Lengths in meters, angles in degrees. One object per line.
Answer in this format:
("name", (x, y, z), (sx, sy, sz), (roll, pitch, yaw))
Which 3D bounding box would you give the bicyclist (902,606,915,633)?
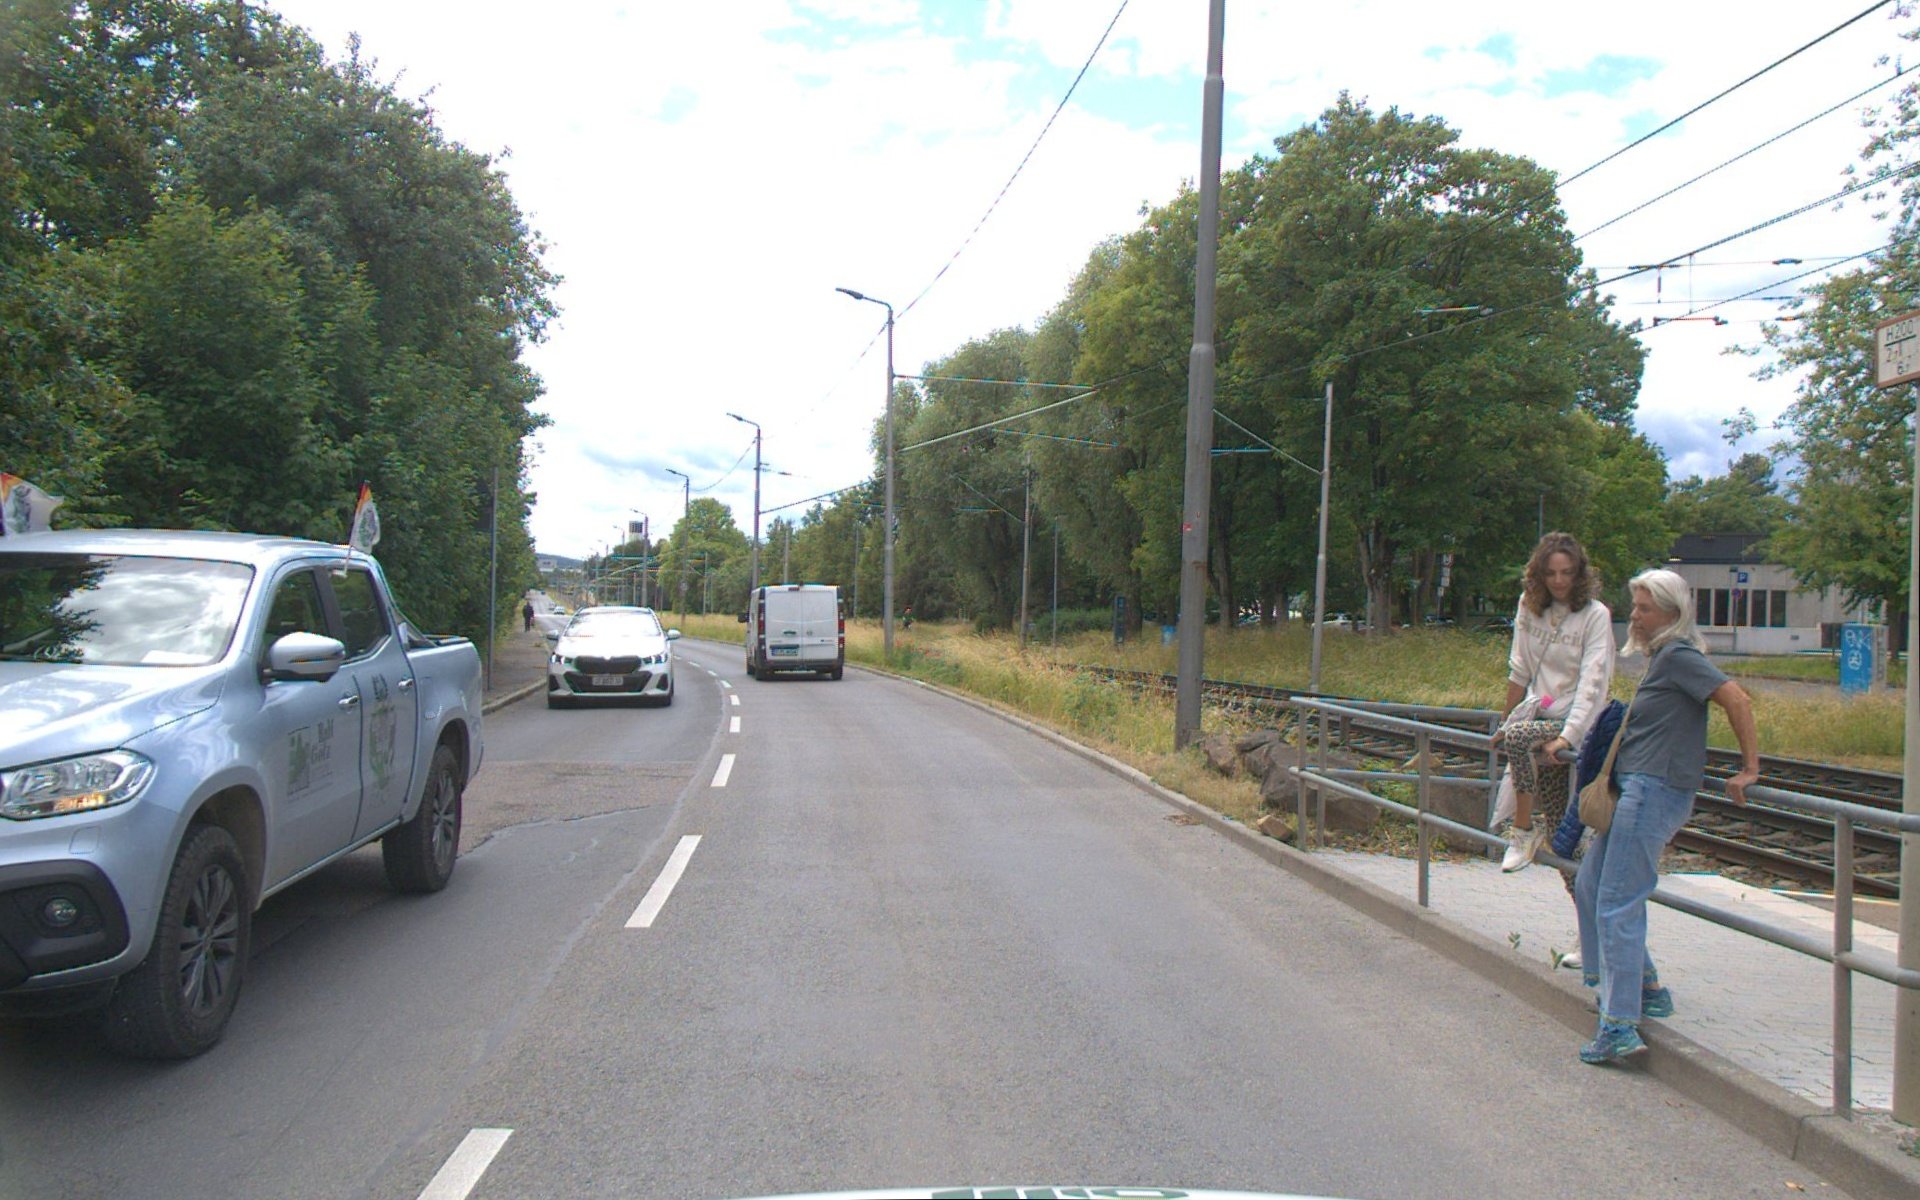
("bicyclist", (-3.307, 1.252, 106.900), (0.571, 1.726, 0.931), (2, -1, -18))

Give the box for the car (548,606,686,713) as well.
("car", (-5.456, 0.892, 26.791), (1.894, 1.548, 4.650), (-1, 0, -8))

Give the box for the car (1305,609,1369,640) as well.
("car", (22.301, 1.444, 98.037), (1.960, 1.730, 4.213), (2, -1, -14))

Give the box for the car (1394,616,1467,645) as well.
("car", (24.882, 1.612, 87.565), (1.960, 1.468, 3.984), (2, -1, -14))

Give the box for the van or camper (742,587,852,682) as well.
("van or camper", (-3.599, 0.728, 35.806), (1.908, 1.930, 4.271), (0, -1, -12))

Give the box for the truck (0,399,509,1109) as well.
("truck", (-3.427, 0.428, 7.105), (1.811, 2.000, 4.955), (1, 0, -3))

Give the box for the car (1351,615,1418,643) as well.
("car", (23.690, 1.622, 92.439), (1.960, 1.468, 3.984), (2, -1, -14))

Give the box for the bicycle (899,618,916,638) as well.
("bicycle", (-3.386, 1.789, 107.020), (0.571, 1.268, 1.919), (1, 0, -18))

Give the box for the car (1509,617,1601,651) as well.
("car", (27.711, 1.565, 77.177), (1.960, 1.468, 4.329), (2, -1, -14))

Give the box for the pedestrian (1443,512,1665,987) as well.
("pedestrian", (2.492, 0.609, 6.953), (0.650, 1.873, 0.592), (3, -3, -26))

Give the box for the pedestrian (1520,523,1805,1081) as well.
("pedestrian", (2.402, 0.653, 5.697), (0.468, 1.759, 0.793), (3, -3, -26))

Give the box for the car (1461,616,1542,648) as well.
("car", (26.589, 1.547, 81.317), (1.960, 1.468, 3.984), (2, -1, -14))

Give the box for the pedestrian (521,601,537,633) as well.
("pedestrian", (-24.765, 0.972, 95.013), (0.854, 1.800, 0.785), (-1, 0, -19))

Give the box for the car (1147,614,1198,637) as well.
("car", (17.748, 2.099, 138.277), (1.981, 1.844, 3.942), (2, -1, -40))

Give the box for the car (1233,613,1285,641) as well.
("car", (19.574, 1.738, 108.546), (1.959, 1.730, 3.987), (2, -1, -13))
